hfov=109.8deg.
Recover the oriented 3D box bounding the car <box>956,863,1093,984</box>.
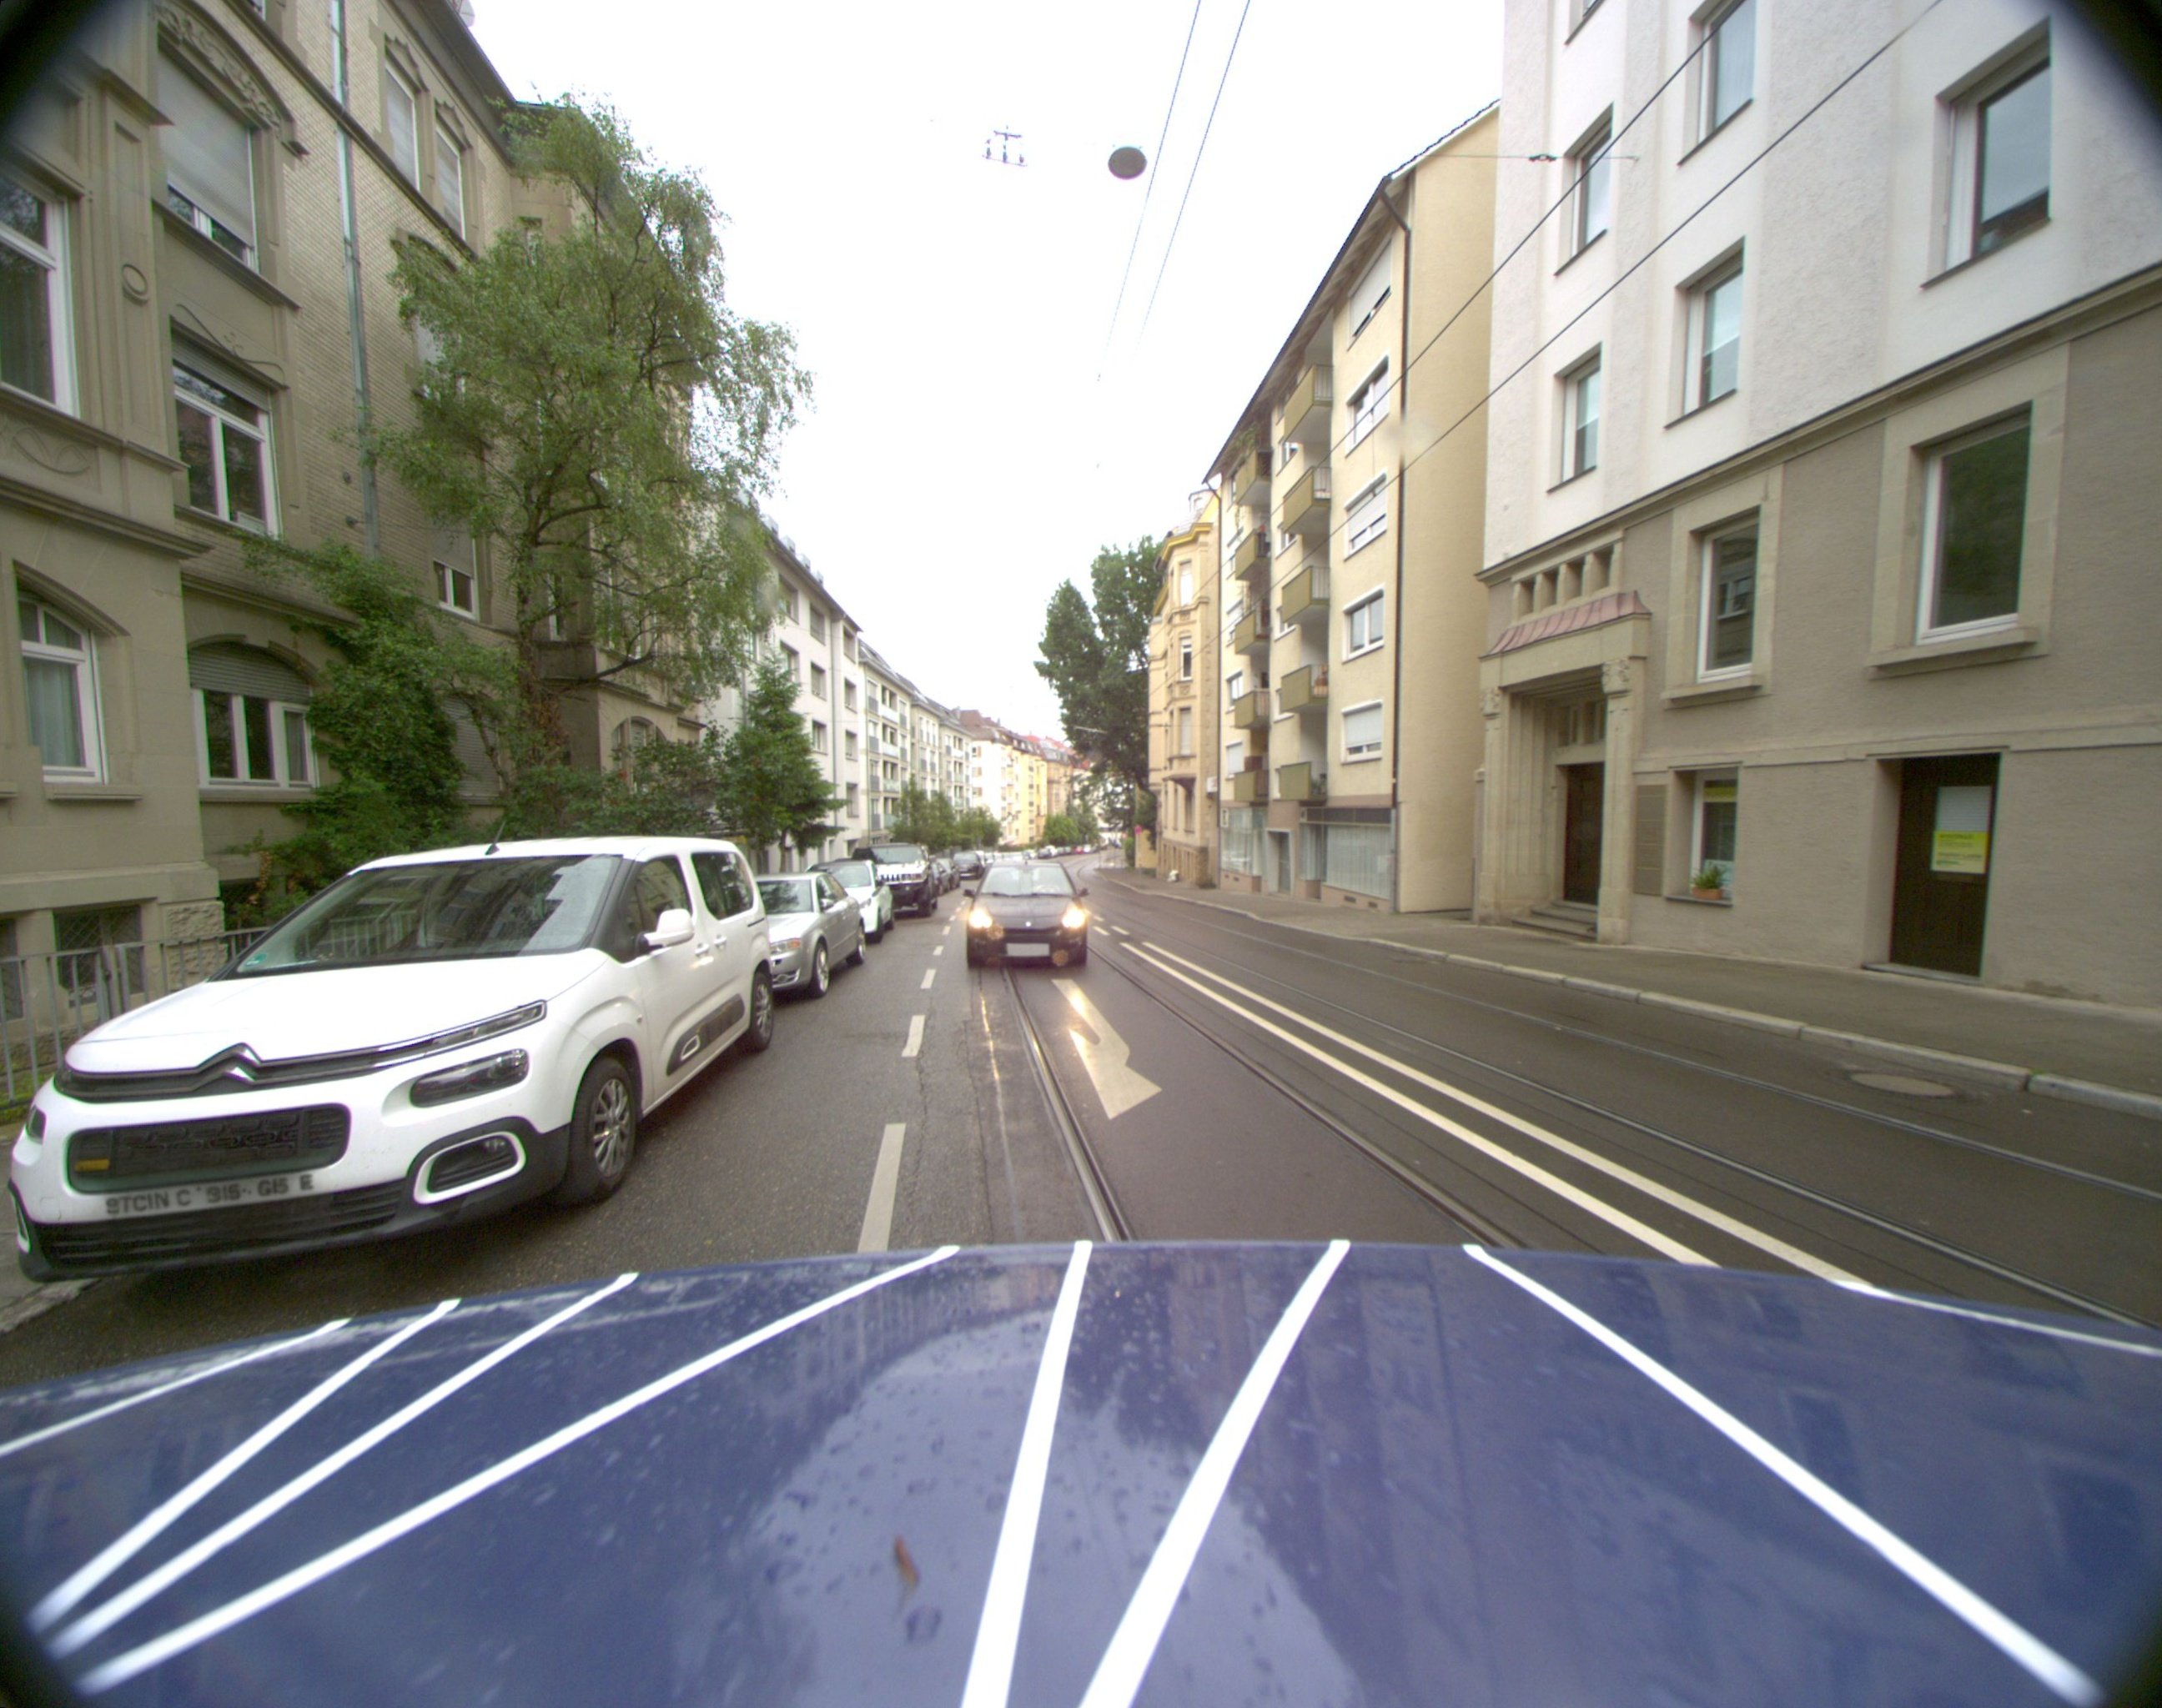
[{"bbox_3d":[-0.961,0.917,11.777,1.740,1.445,3.997,-1,0,-7],"label":"car"}]

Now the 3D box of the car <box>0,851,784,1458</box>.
[{"bbox_3d":[-3.286,0.903,4.508,1.803,1.755,4.459,-3,1,-9],"label":"car"}]

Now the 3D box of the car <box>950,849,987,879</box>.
[{"bbox_3d":[-7.207,0.592,49.093,1.948,1.785,4.818,-2,1,-4],"label":"car"}]

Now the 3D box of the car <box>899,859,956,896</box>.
[{"bbox_3d":[-6.216,0.908,31.109,1.683,1.330,3.881,-2,1,-3],"label":"car"}]

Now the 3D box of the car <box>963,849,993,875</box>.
[{"bbox_3d":[-7.397,0.550,54.971,1.783,1.785,4.469,-1,1,-3],"label":"car"}]

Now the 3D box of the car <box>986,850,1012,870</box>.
[{"bbox_3d":[-7.122,0.464,66.362,1.837,1.618,4.662,-1,1,-2],"label":"car"}]

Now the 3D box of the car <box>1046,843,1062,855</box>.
[{"bbox_3d":[-3.892,-0.685,109.593,1.798,1.613,3.868,-2,2,6],"label":"car"}]

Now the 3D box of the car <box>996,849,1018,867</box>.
[{"bbox_3d":[-7.021,0.391,71.928,1.981,1.576,4.563,-1,1,-5],"label":"car"}]

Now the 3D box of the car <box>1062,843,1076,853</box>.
[{"bbox_3d":[-1.936,-0.995,123.904,1.658,1.360,3.637,-2,2,8],"label":"car"}]

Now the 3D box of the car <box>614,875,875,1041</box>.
[{"bbox_3d":[-3.929,1.084,9.779,1.754,1.392,4.475,-3,1,-7],"label":"car"}]

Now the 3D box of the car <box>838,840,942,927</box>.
[{"bbox_3d":[-5.082,0.689,21.015,2.135,2.002,5.346,-3,1,-8],"label":"car"}]

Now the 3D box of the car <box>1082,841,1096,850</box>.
[{"bbox_3d":[1.478,-1.562,139.652,1.612,1.434,3.690,-1,2,13],"label":"car"}]

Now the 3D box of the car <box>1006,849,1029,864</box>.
[{"bbox_3d":[-6.817,0.240,81.580,1.862,1.507,4.789,-1,1,2],"label":"car"}]

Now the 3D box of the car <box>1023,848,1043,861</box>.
[{"bbox_3d":[-5.930,0.034,93.650,1.721,1.459,4.391,-1,1,6],"label":"car"}]

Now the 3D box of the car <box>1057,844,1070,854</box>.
[{"bbox_3d":[-2.737,-0.865,118.737,1.590,1.434,3.477,-2,2,6],"label":"car"}]

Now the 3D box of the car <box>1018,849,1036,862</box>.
[{"bbox_3d":[-6.348,0.159,89.022,1.600,1.416,3.515,-1,1,4],"label":"car"}]

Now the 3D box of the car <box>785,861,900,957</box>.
[{"bbox_3d":[-4.584,0.969,15.045,1.565,1.537,3.581,-3,1,-9],"label":"car"}]

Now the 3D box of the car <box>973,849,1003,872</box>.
[{"bbox_3d":[-7.407,0.505,60.767,1.837,1.647,4.685,-1,1,-1],"label":"car"}]

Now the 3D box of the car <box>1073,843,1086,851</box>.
[{"bbox_3d":[-0.262,-1.230,131.119,1.556,1.360,3.126,-1,2,13],"label":"car"}]

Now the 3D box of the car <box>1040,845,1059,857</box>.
[{"bbox_3d":[-4.349,-0.453,104.410,1.797,1.444,4.104,-2,2,9],"label":"car"}]

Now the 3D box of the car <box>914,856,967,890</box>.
[{"bbox_3d":[-6.536,0.833,35.835,1.799,1.429,4.609,-2,1,-3],"label":"car"}]

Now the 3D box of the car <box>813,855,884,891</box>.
[{"bbox_3d":[-10.692,0.835,35.302,1.817,1.418,4.153,-3,1,2],"label":"car"}]
